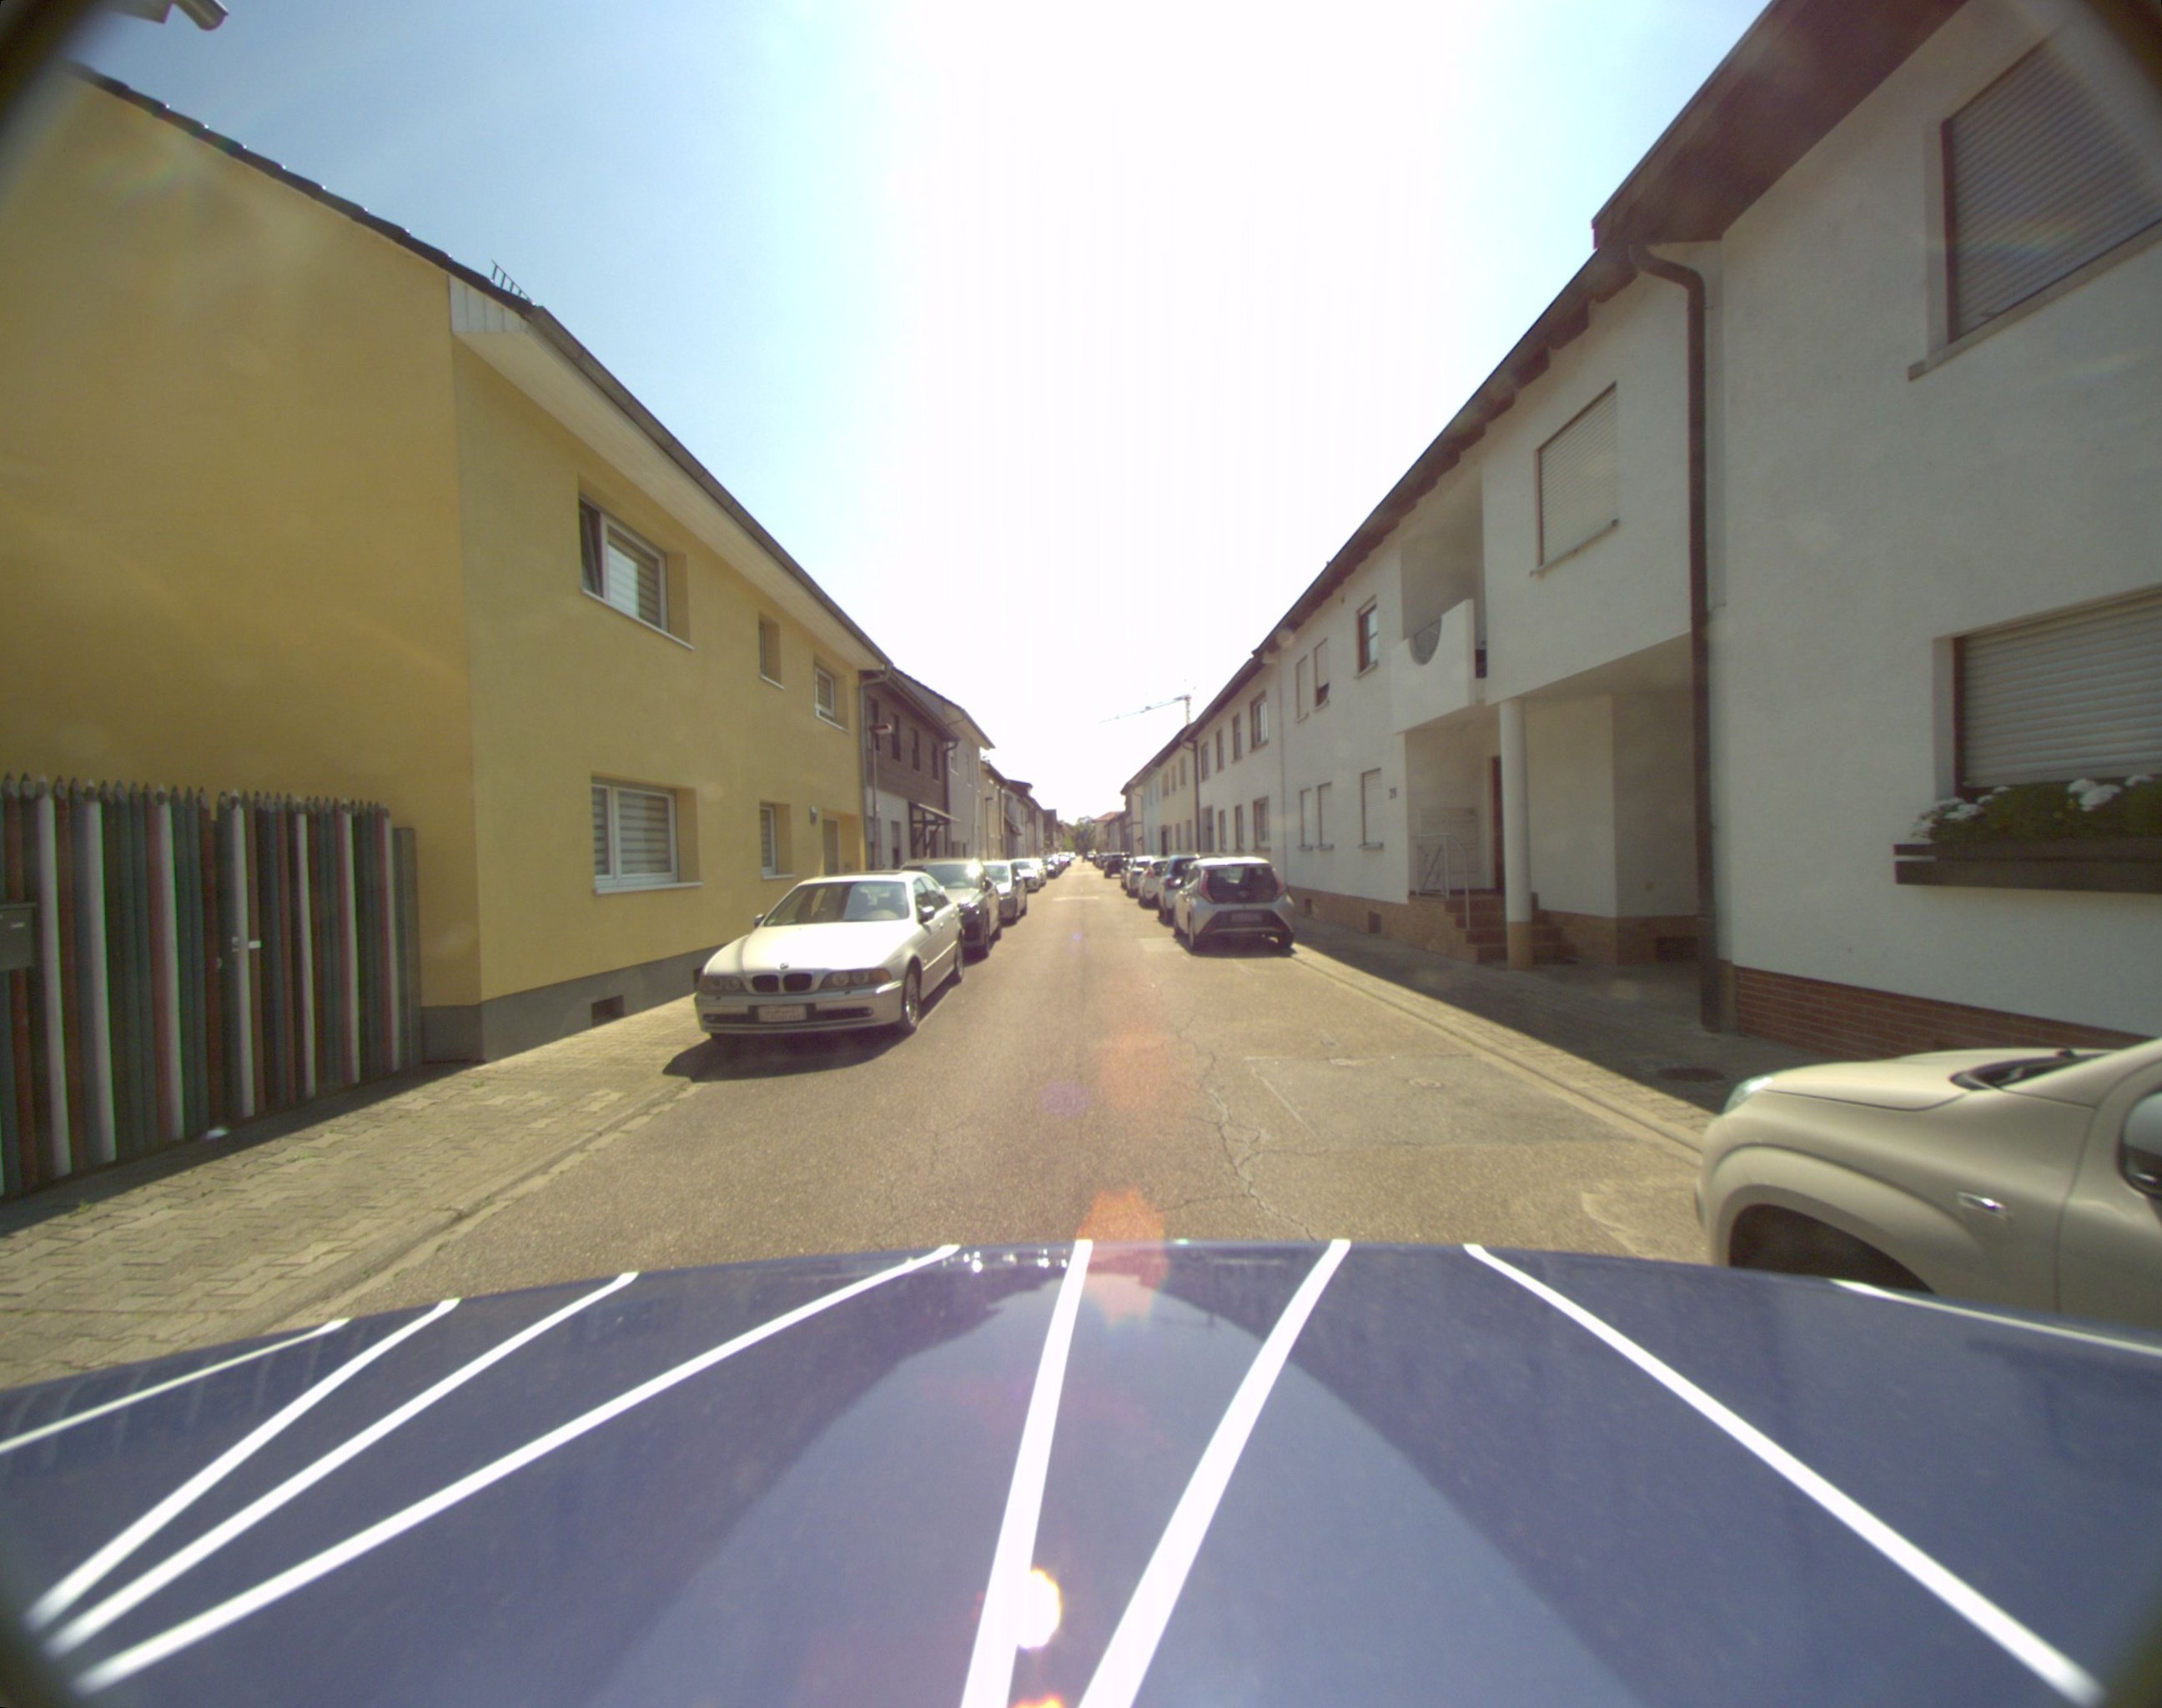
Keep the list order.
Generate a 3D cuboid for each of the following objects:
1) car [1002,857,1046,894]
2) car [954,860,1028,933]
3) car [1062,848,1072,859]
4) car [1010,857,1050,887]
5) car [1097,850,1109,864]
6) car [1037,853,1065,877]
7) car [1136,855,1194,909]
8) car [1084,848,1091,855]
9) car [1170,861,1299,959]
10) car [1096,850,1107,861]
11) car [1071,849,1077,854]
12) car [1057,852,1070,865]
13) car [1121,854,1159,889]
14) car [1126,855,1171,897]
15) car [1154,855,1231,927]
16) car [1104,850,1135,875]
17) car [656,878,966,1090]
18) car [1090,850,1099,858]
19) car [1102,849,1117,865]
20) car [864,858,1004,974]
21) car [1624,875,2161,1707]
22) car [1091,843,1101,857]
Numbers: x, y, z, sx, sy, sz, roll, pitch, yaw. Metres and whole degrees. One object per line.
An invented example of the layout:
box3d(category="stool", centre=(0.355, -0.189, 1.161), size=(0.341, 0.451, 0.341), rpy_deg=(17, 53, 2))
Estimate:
box3d(category="car", centre=(-2.569, 0.953, 34.940), size=(1.743, 1.460, 4.044), rpy_deg=(-3, 1, -1))
box3d(category="car", centre=(-2.163, 0.967, 18.894), size=(1.403, 1.519, 3.397), rpy_deg=(-3, 1, -1))
box3d(category="car", centre=(-1.979, -0.073, 107.152), size=(1.414, 1.604, 3.323), rpy_deg=(-1, 1, 0))
box3d(category="car", centre=(-2.668, 0.922, 40.459), size=(1.761, 1.351, 4.045), rpy_deg=(-3, 1, 0))
box3d(category="car", centre=(2.612, 0.378, 90.648), size=(1.414, 1.582, 3.323), rpy_deg=(-1, 1, 0))
box3d(category="car", centre=(-2.105, 0.766, 53.369), size=(1.736, 1.502, 3.623), rpy_deg=(-3, 1, 0))
box3d(category="car", centre=(2.492, 0.794, 23.060), size=(1.414, 1.446, 3.462), rpy_deg=(-1, 1, 1))
box3d(category="car", centre=(1.297, -0.439, 155.587), size=(1.414, 1.389, 3.323), rpy_deg=(-1, 1, 0))
box3d(category="car", centre=(2.503, 0.865, 13.080), size=(1.606, 1.434, 3.214), rpy_deg=(-1, 0, 1))
box3d(category="car", centre=(2.629, 0.137, 98.499), size=(1.414, 1.389, 3.323), rpy_deg=(-1, 1, 0))
box3d(category="car", centre=(-1.685, -0.610, 179.007), size=(1.414, 1.111, 3.323), rpy_deg=(-1, 1, 0))
box3d(category="car", centre=(-2.073, 0.526, 88.754), size=(1.414, 1.389, 3.323), rpy_deg=(-1, 1, 0))
box3d(category="car", centre=(2.627, 0.742, 34.610), size=(1.414, 1.446, 3.542), rpy_deg=(-1, 1, 0))
box3d(category="car", centre=(2.486, 0.778, 28.506), size=(1.414, 1.446, 3.542), rpy_deg=(-1, 1, 1))
box3d(category="car", centre=(2.552, 0.803, 17.930), size=(1.414, 1.519, 3.025), rpy_deg=(-1, 1, 1))
box3d(category="car", centre=(2.493, 0.524, 50.221), size=(1.819, 1.598, 3.887), rpy_deg=(-1, 1, 0))
box3d(category="car", centre=(-2.353, 1.046, 7.844), size=(1.666, 1.406, 4.247), rpy_deg=(-1, 1, 0))
box3d(category="car", centre=(2.225, -0.071, 124.070), size=(1.414, 1.276, 3.528), rpy_deg=(-1, 1, 0))
box3d(category="car", centre=(2.893, 0.256, 76.820), size=(1.414, 1.582, 3.542), rpy_deg=(-1, 1, 0))
box3d(category="car", centre=(-2.335, 0.910, 13.026), size=(1.684, 1.575, 3.961), rpy_deg=(-2, 1, -2))
box3d(category="car", centre=(2.602, 0.860, 0.557), size=(1.667, 1.532, 3.687), rpy_deg=(-1, 1, -3))
box3d(category="car", centre=(2.164, -0.559, 111.485), size=(1.414, 1.932, 3.528), rpy_deg=(-1, 1, 0))
